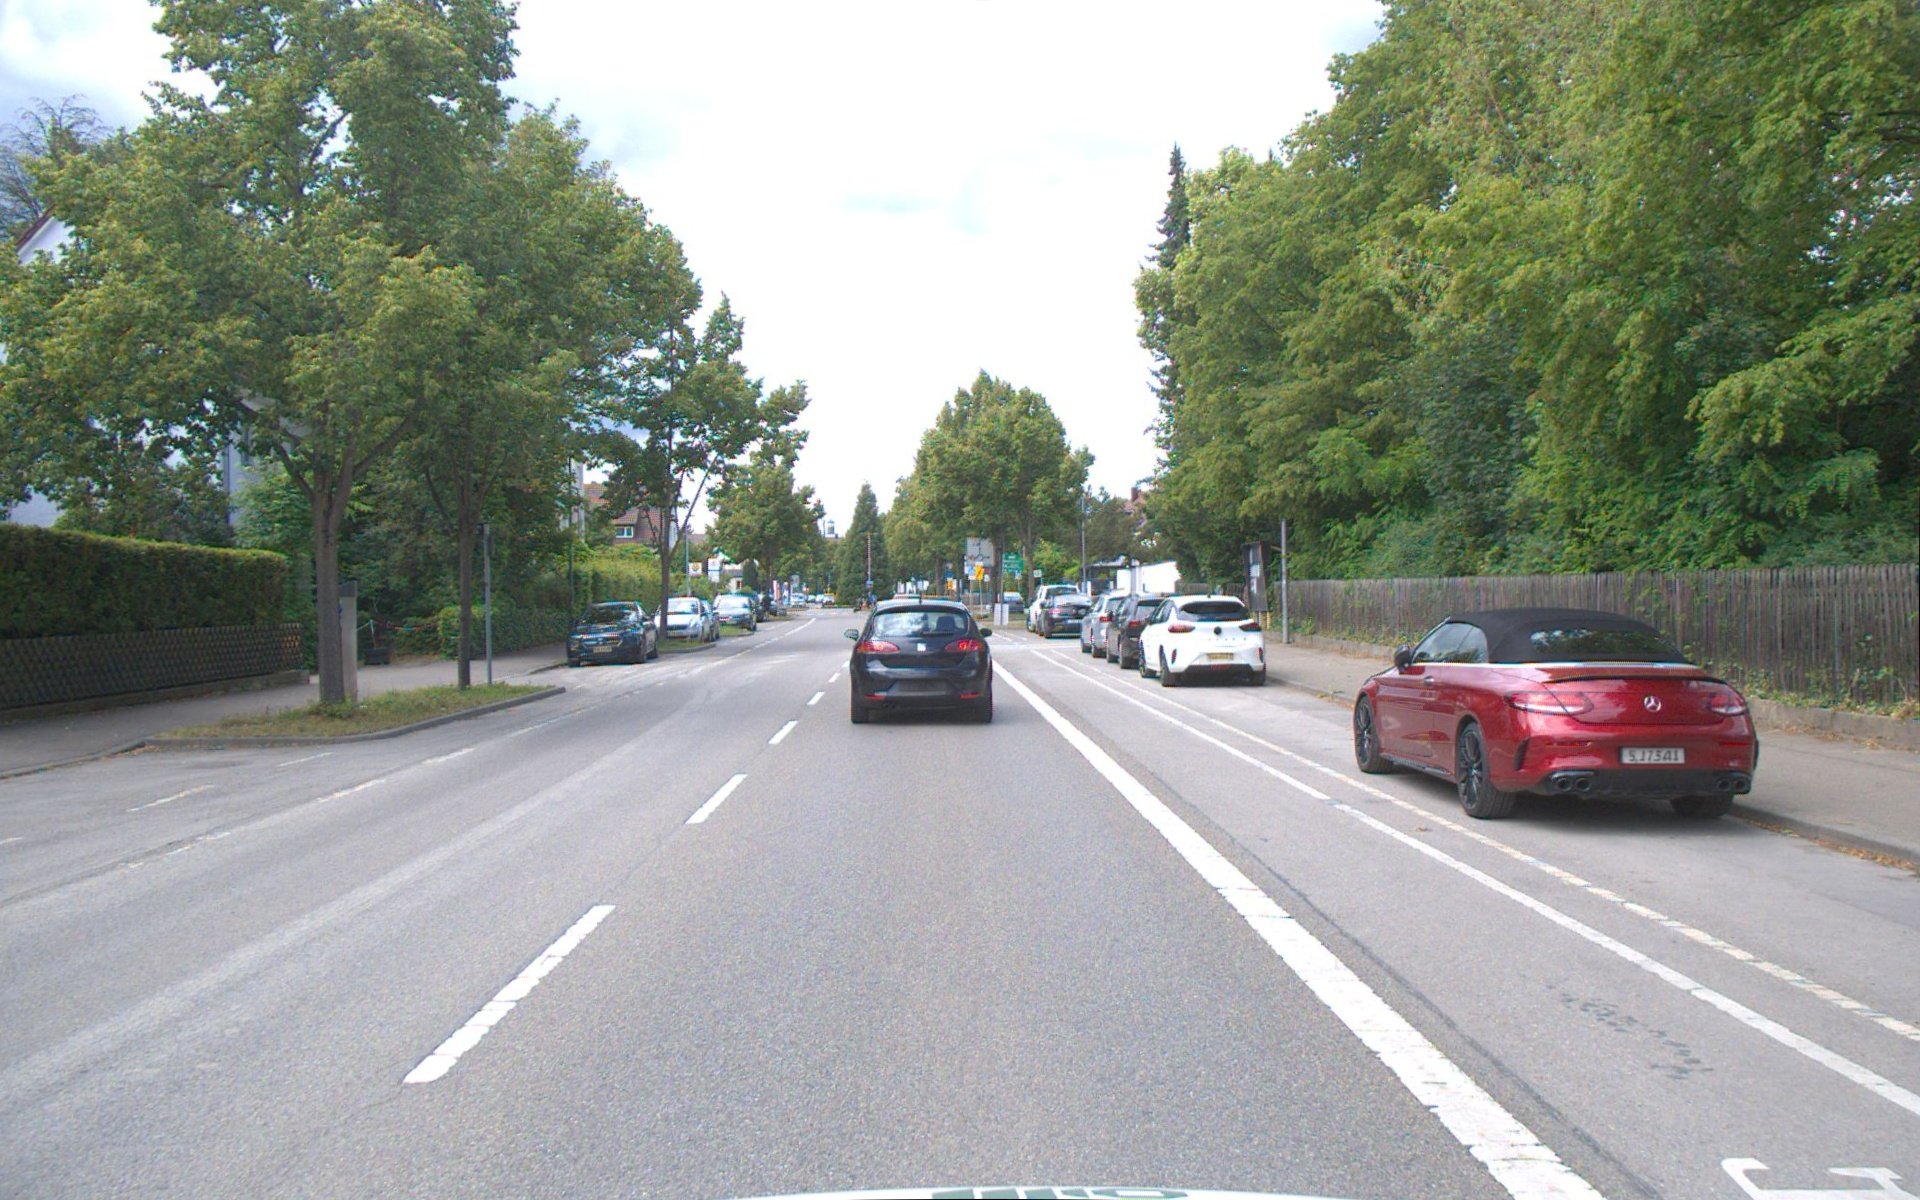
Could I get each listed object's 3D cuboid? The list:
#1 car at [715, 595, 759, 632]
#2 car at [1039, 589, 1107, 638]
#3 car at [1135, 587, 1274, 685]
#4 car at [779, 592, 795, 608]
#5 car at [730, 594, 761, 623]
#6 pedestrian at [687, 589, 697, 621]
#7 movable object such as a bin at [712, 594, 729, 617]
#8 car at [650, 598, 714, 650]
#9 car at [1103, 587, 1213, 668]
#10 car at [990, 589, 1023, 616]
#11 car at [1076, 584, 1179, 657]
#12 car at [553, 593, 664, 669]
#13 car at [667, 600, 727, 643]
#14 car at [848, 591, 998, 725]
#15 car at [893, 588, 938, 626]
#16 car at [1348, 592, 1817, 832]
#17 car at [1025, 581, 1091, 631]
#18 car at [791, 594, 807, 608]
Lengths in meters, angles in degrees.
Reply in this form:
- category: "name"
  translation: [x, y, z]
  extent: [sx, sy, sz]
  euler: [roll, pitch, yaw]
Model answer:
- category: "car"
  translation: [-9.946, 0.585, 74.044]
  extent: [1.644, 1.579, 4.268]
  euler: [-1, 0, -4]
- category: "car"
  translation: [3.550, 0.393, 52.680]
  extent: [1.825, 1.441, 4.602]
  euler: [-1, 0, -1]
- category: "car"
  translation: [4.112, 0.578, 28.368]
  extent: [1.732, 1.537, 4.030]
  euler: [-1, 0, -1]
- category: "car"
  translation: [-22.415, -0.009, 214.421]
  extent: [1.991, 2.005, 3.995]
  euler: [-2, 0, -6]
- category: "car"
  translation: [-13.321, 0.500, 103.056]
  extent: [1.690, 1.755, 4.560]
  euler: [-1, 0, -5]
- category: "pedestrian"
  translation: [-15.619, 0.276, 96.397]
  extent: [0.493, 1.837, 0.671]
  euler: [-1, 0, -3]
- category: "movable object such as a bin"
  translation: [-17.624, 0.419, 121.623]
  extent: [1.182, 1.680, 0.997]
  euler: [1, 0, -6]
- category: "car"
  translation: [-9.407, 0.769, 56.216]
  extent: [1.684, 1.641, 3.907]
  euler: [-2, 0, -3]
- category: "car"
  translation: [4.012, 0.508, 34.152]
  extent: [1.667, 1.536, 4.537]
  euler: [0, 1, -1]
- category: "car"
  translation: [2.671, 0.165, 95.973]
  extent: [1.579, 1.401, 4.384]
  euler: [-2, -1, -3]
- category: "car"
  translation: [3.918, 0.468, 39.369]
  extent: [1.824, 1.639, 4.684]
  euler: [0, 0, -2]
- category: "car"
  translation: [-8.792, 0.727, 41.759]
  extent: [2.054, 1.675, 5.034]
  euler: [-2, 1, -5]
- category: "car"
  translation: [-10.127, 0.781, 63.892]
  extent: [1.955, 1.511, 4.884]
  euler: [-2, 0, -6]
- category: "car"
  translation: [-0.443, 0.658, 20.901]
  extent: [1.697, 1.512, 4.000]
  euler: [1, 0, -1]
- category: "car"
  translation: [-2.026, 0.293, 74.791]
  extent: [1.953, 1.641, 3.998]
  euler: [-1, 0, -2]
- category: "car"
  translation: [4.458, 0.701, 12.672]
  extent: [1.821, 1.438, 4.442]
  euler: [1, 1, -1]
- category: "car"
  translation: [3.442, 0.226, 58.939]
  extent: [1.863, 1.671, 4.114]
  euler: [-1, 0, -3]
- category: "car"
  translation: [-19.164, 0.101, 196.570]
  extent: [1.762, 1.629, 3.997]
  euler: [-2, 0, -4]
